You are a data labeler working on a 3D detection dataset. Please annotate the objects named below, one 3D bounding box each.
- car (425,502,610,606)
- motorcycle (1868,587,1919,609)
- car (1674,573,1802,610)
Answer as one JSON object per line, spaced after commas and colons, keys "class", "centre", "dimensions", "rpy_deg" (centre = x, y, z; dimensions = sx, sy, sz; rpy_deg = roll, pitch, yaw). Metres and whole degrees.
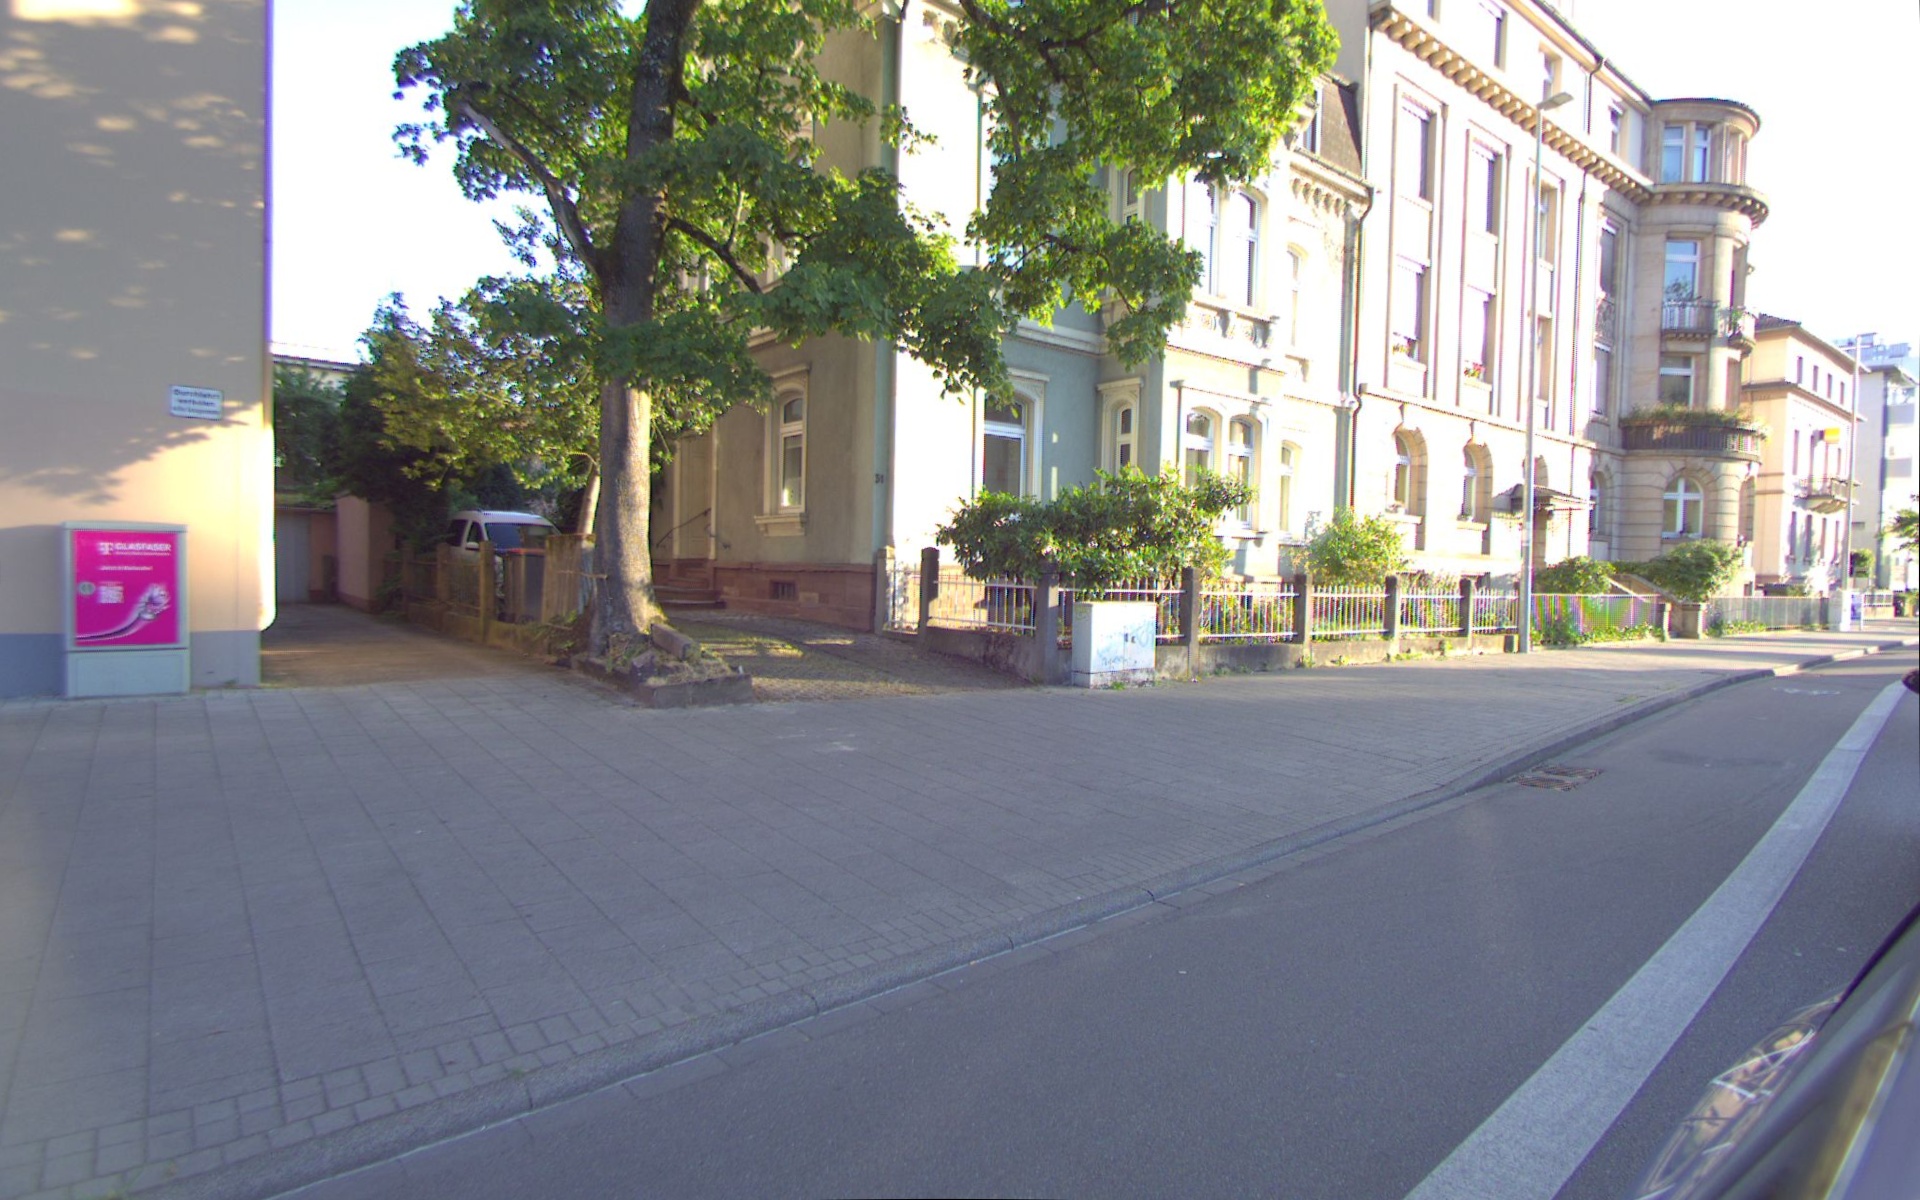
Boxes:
{"class": "car", "centre": [-8.657, -0.929, 19.574], "dimensions": [1.795, 1.778, 4.513], "rpy_deg": [1, 3, -44]}
{"class": "motorcycle", "centre": [48.293, -0.113, 52.345], "dimensions": [0.564, 1.110, 1.851], "rpy_deg": [0, 1, -33]}
{"class": "car", "centre": [34.037, -0.410, 44.337], "dimensions": [1.903, 1.499, 4.098], "rpy_deg": [0, 2, -38]}
